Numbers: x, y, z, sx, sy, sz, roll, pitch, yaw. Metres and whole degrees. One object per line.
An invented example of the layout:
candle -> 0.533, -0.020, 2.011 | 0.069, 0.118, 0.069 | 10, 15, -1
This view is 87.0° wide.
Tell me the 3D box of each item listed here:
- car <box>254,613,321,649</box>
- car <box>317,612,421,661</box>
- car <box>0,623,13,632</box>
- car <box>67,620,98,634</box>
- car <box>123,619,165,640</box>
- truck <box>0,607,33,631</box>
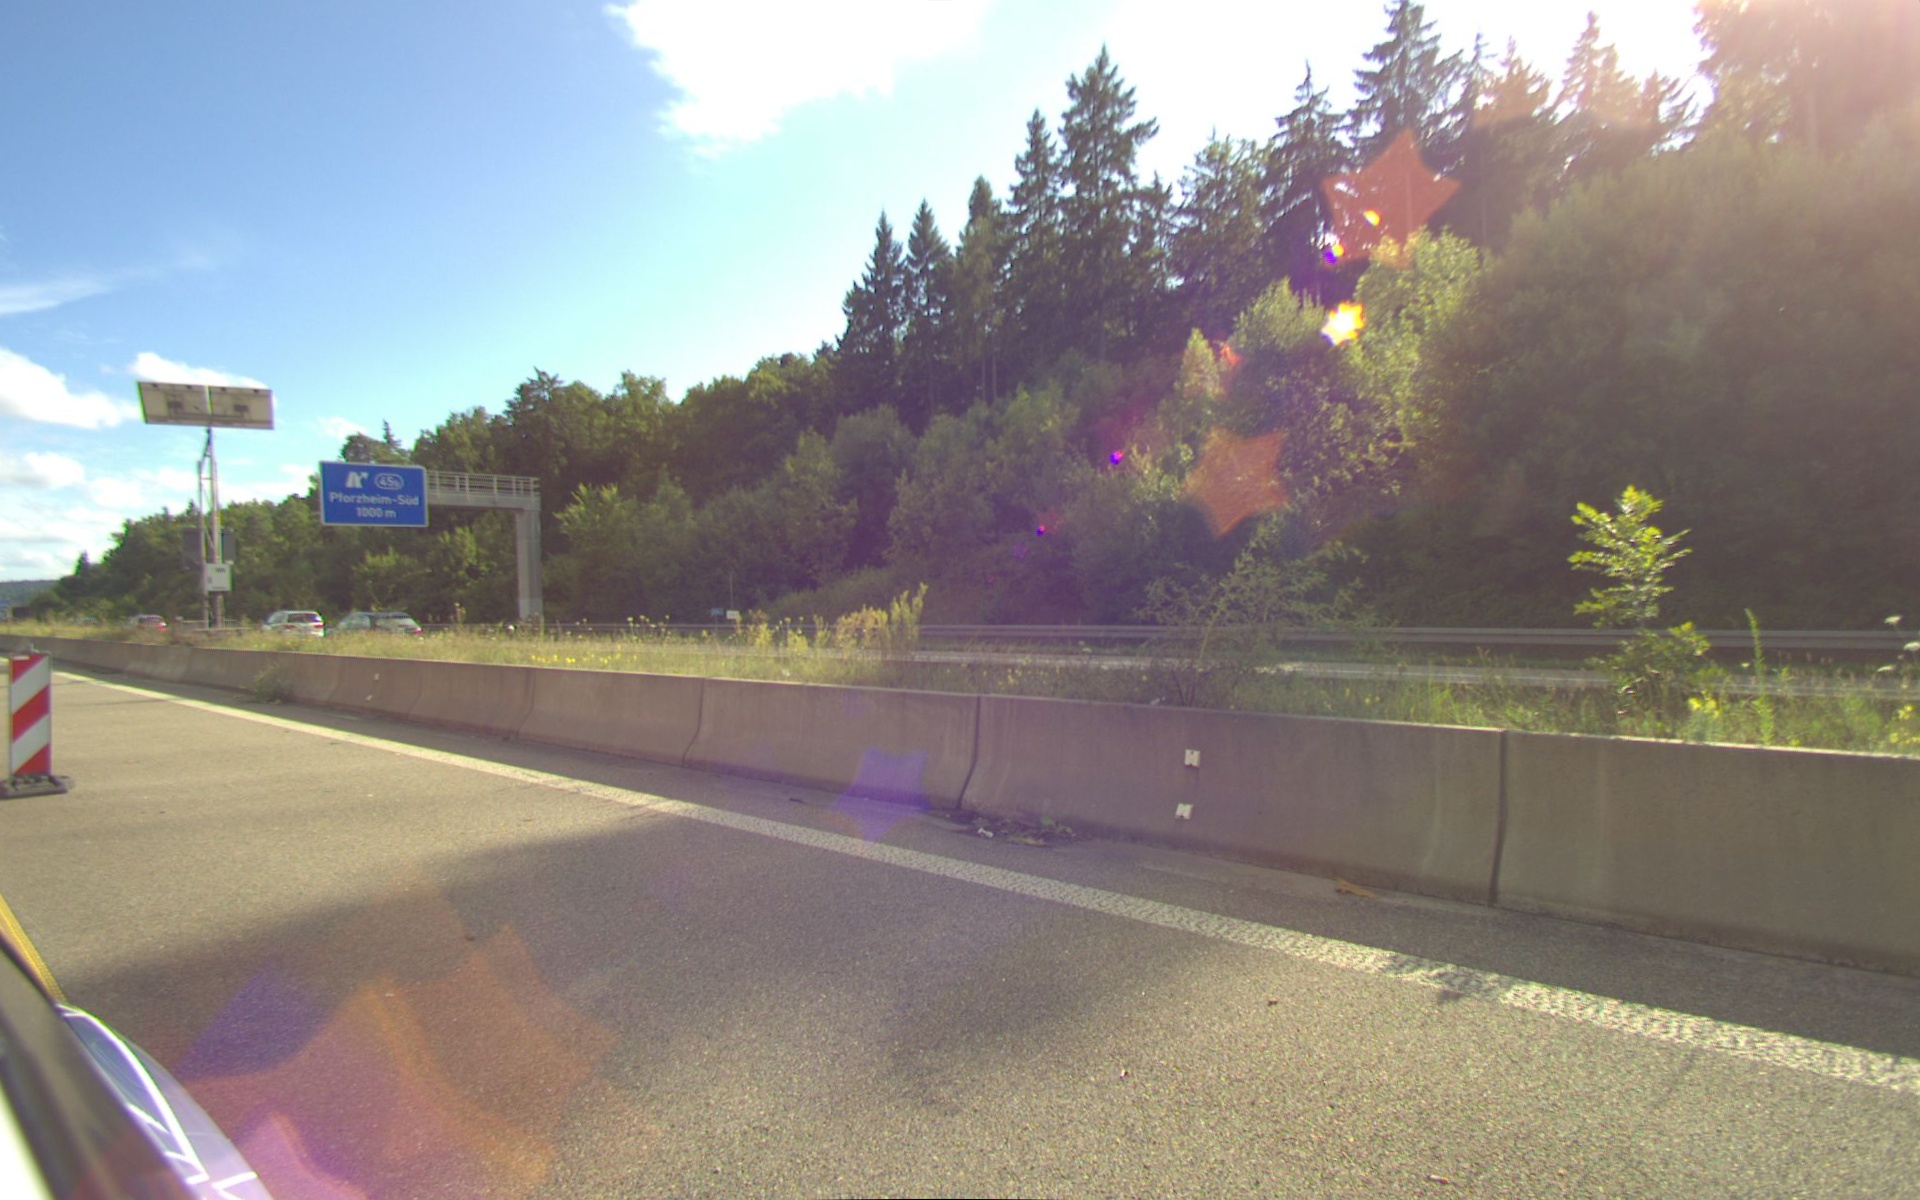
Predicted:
car -> -31.784, 1.420, 47.769 | 3.910, 1.593, 1.643 | -1, 0, 41
car -> -18.600, 1.102, 31.813 | 3.910, 1.398, 1.643 | -1, 0, 41
car -> -156.652, 4.526, 165.647 | 3.910, 1.475, 1.919 | -1, 0, 41
car -> -94.486, 2.877, 108.962 | 3.910, 1.475, 1.919 | -1, 0, 41
car -> -57.301, 2.059, 71.042 | 3.910, 1.398, 1.643 | -1, 0, 41
truck -> -182.492, 3.678, 195.501 | 13.050, 4.409, 3.793 | -1, 0, 43
